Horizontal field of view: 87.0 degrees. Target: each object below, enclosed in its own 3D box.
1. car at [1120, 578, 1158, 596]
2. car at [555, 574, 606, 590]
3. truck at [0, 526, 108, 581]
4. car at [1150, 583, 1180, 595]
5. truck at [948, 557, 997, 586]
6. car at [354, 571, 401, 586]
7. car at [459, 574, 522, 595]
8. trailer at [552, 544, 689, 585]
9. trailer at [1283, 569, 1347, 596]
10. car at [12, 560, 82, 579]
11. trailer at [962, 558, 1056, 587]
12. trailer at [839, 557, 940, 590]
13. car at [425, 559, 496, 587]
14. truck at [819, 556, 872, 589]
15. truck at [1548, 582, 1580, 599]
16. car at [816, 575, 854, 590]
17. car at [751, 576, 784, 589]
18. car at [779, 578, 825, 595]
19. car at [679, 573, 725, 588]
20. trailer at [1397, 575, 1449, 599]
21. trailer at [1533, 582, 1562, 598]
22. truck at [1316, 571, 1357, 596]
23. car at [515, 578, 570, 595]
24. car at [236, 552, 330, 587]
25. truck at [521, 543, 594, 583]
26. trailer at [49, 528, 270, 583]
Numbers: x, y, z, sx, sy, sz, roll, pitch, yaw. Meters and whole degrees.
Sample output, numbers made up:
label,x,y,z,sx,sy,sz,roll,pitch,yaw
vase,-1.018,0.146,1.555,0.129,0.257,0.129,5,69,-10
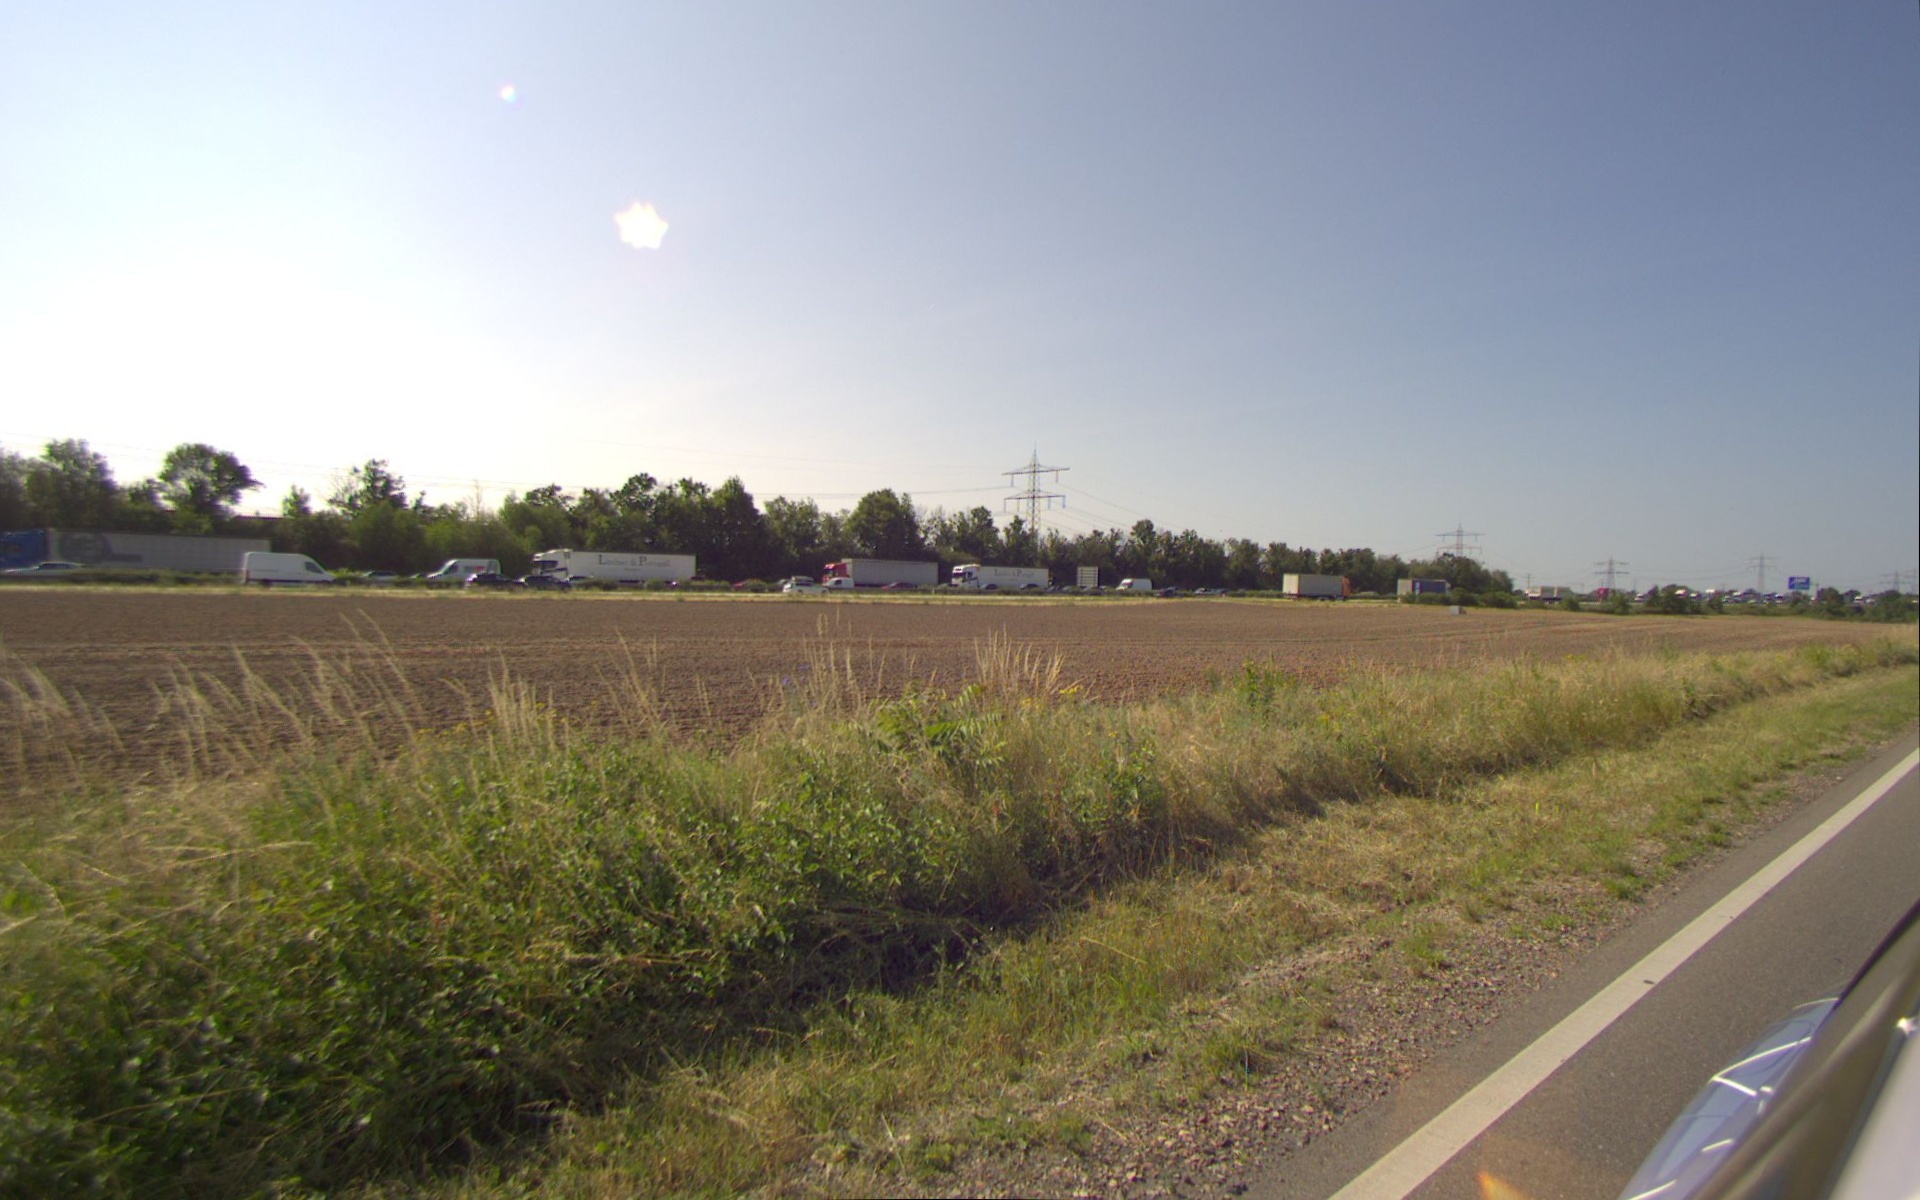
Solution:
label,x,y,z,sx,sy,sz,roll,pitch,yaw
car,26.702,-1.920,150.707,6.299,2.478,2.041,0,0,-40
car,-35.839,-1.709,95.604,4.173,1.403,1.853,1,-1,-41
truck,-67.449,-3.382,75.340,5.978,3.780,3.079,1,0,-40
car,26.981,-1.435,133.062,4.123,1.563,1.706,0,-1,-41
truck,1.697,-3.788,135.362,6.002,3.575,3.208,1,2,-41
car,-48.054,-1.756,83.467,3.126,1.166,1.397,1,-1,-41
car,-36.149,-1.163,77.910,4.135,1.492,1.706,0,-1,-40
trailer,-34.596,-3.571,103.867,13.128,3.780,3.078,0,1,-40
trailer,55.482,-2.697,157.876,13.475,3.897,3.109,0,0,-40
car,-63.071,-2.093,69.961,3.518,1.166,1.397,1,-1,-40
trailer,6.923,-3.755,139.962,14.820,3.575,3.208,0,2,-41
trailer,-8.708,-3.263,126.637,13.541,3.780,2.951,0,0,-41
car,-43.336,-2.335,87.870,5.146,2.228,1.908,1,-1,-41
truck,-13.799,-3.278,122.183,5.766,3.780,2.951,1,0,-41
truck,133.586,-2.122,223.900,10.927,3.521,2.810,0,1,-42
car,-14.014,-1.953,113.640,4.023,1.660,1.705,0,-1,-42
car,-20.551,-1.848,107.973,3.236,1.300,1.342,0,-1,-43
car,-15.078,-1.298,96.796,4.123,1.563,1.706,0,-1,-41
car,-26.426,-1.942,103.698,4.173,1.403,1.853,1,-1,-41
trailer,83.043,-2.316,181.160,14.341,3.851,3.076,1,0,-42
trailer,126.343,-2.127,217.435,8.566,3.458,2.798,0,1,-42
truck,60.293,-2.664,161.974,6.827,3.898,3.109,1,0,-40
car,-34.996,-1.120,84.861,4.021,1.391,1.706,0,-1,-40
car,-48.761,-2.146,72.918,5.425,2.402,1.997,0,-1,-41
truck,-39.571,-3.591,99.654,6.008,3.780,3.078,1,0,-40
trailer,-62.430,-3.367,79.523,13.385,3.780,3.078,0,1,-40
